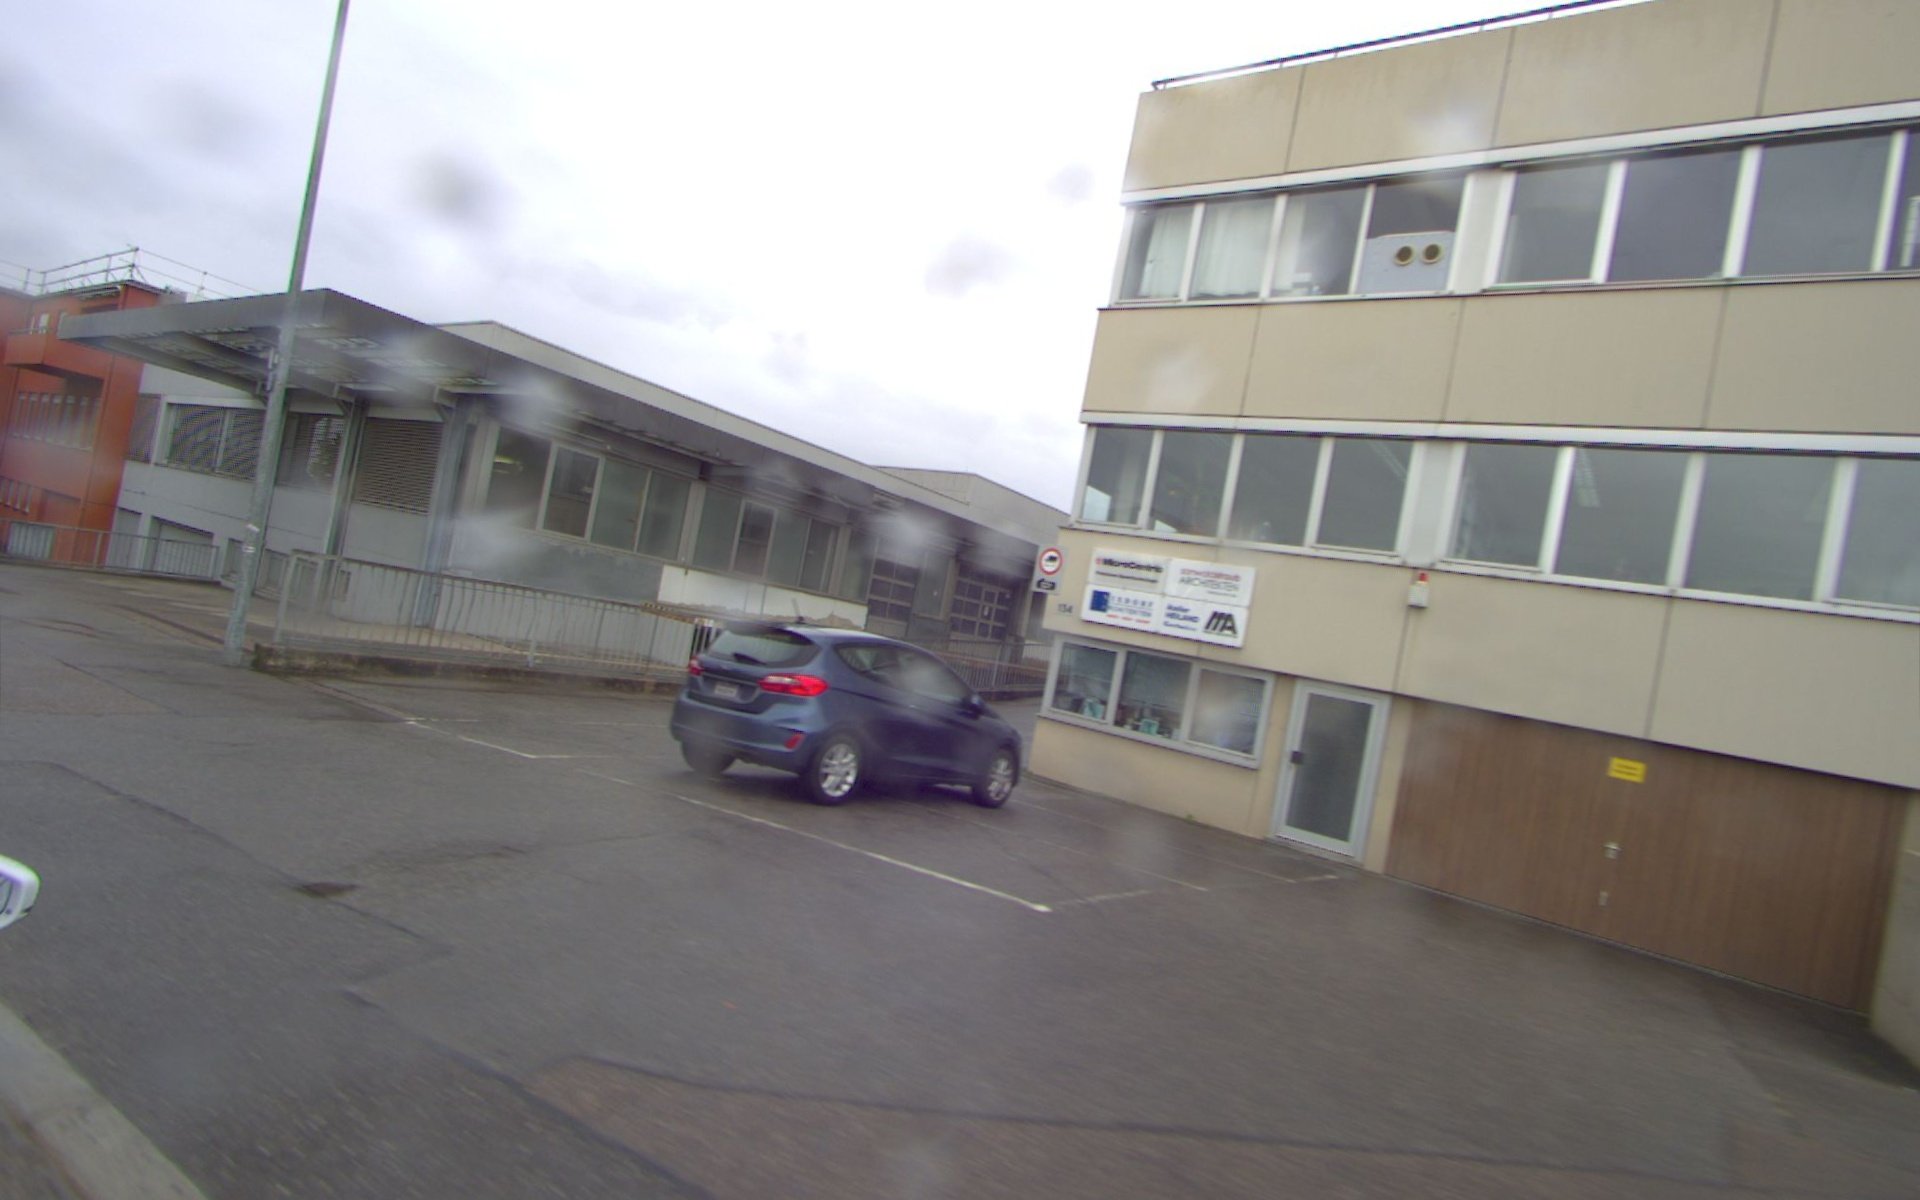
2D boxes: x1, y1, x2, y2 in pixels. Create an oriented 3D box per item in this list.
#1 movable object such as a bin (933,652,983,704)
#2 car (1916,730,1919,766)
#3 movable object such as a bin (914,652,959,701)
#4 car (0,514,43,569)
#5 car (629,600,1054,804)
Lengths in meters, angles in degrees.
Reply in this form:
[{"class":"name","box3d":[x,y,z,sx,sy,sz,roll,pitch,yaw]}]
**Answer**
[{"class":"movable object such as a bin","box3d":[-0.057,2.305,29.763,1.019,1.337,0.874,6,-2,40]},{"class":"car","box3d":[24.364,3.345,23.666,1.969,1.778,3.985,7,2,35]},{"class":"movable object such as a bin","box3d":[-0.683,2.215,29.019,0.673,1.278,0.995,7,-2,38]},{"class":"car","box3d":[-23.600,-1.608,23.115,1.765,1.175,3.404,6,-3,37]},{"class":"car","box3d":[-0.900,1.050,9.617,1.792,1.397,3.904,5,-5,35]}]
